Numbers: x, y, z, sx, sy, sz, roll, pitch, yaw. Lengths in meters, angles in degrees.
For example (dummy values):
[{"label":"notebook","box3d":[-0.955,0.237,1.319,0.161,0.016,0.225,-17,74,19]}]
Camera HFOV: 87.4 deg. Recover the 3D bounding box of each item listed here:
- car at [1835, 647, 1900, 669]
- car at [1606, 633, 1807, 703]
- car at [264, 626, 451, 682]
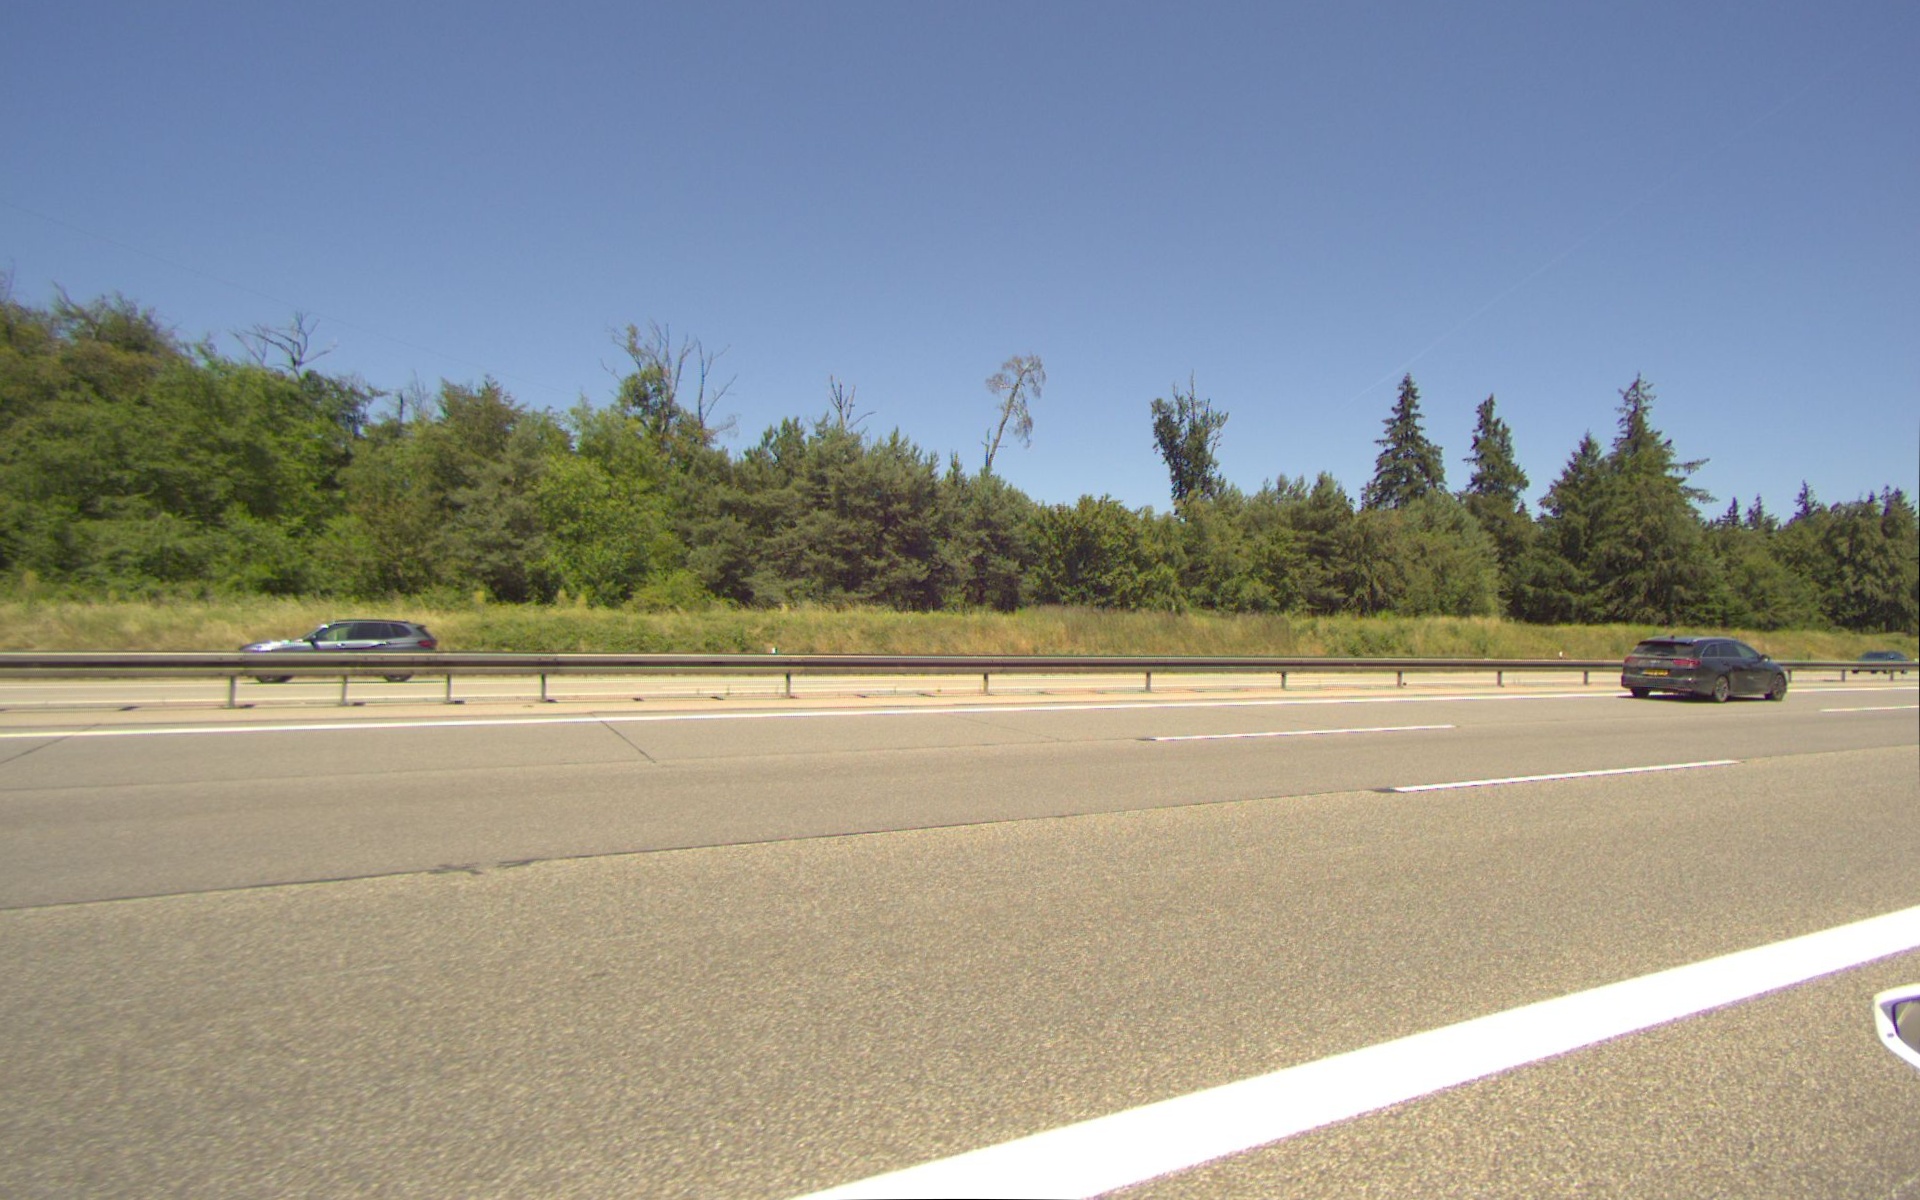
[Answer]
[{"label":"car","box3d":[58.962,3.743,65.227,4.617,1.410,1.685,1,-3,-28]},{"label":"car","box3d":[17.407,1.518,23.375,4.936,1.451,1.825,1,0,-28]},{"label":"car","box3d":[-16.857,1.519,28.391,4.379,1.439,1.783,2,0,-27]}]
